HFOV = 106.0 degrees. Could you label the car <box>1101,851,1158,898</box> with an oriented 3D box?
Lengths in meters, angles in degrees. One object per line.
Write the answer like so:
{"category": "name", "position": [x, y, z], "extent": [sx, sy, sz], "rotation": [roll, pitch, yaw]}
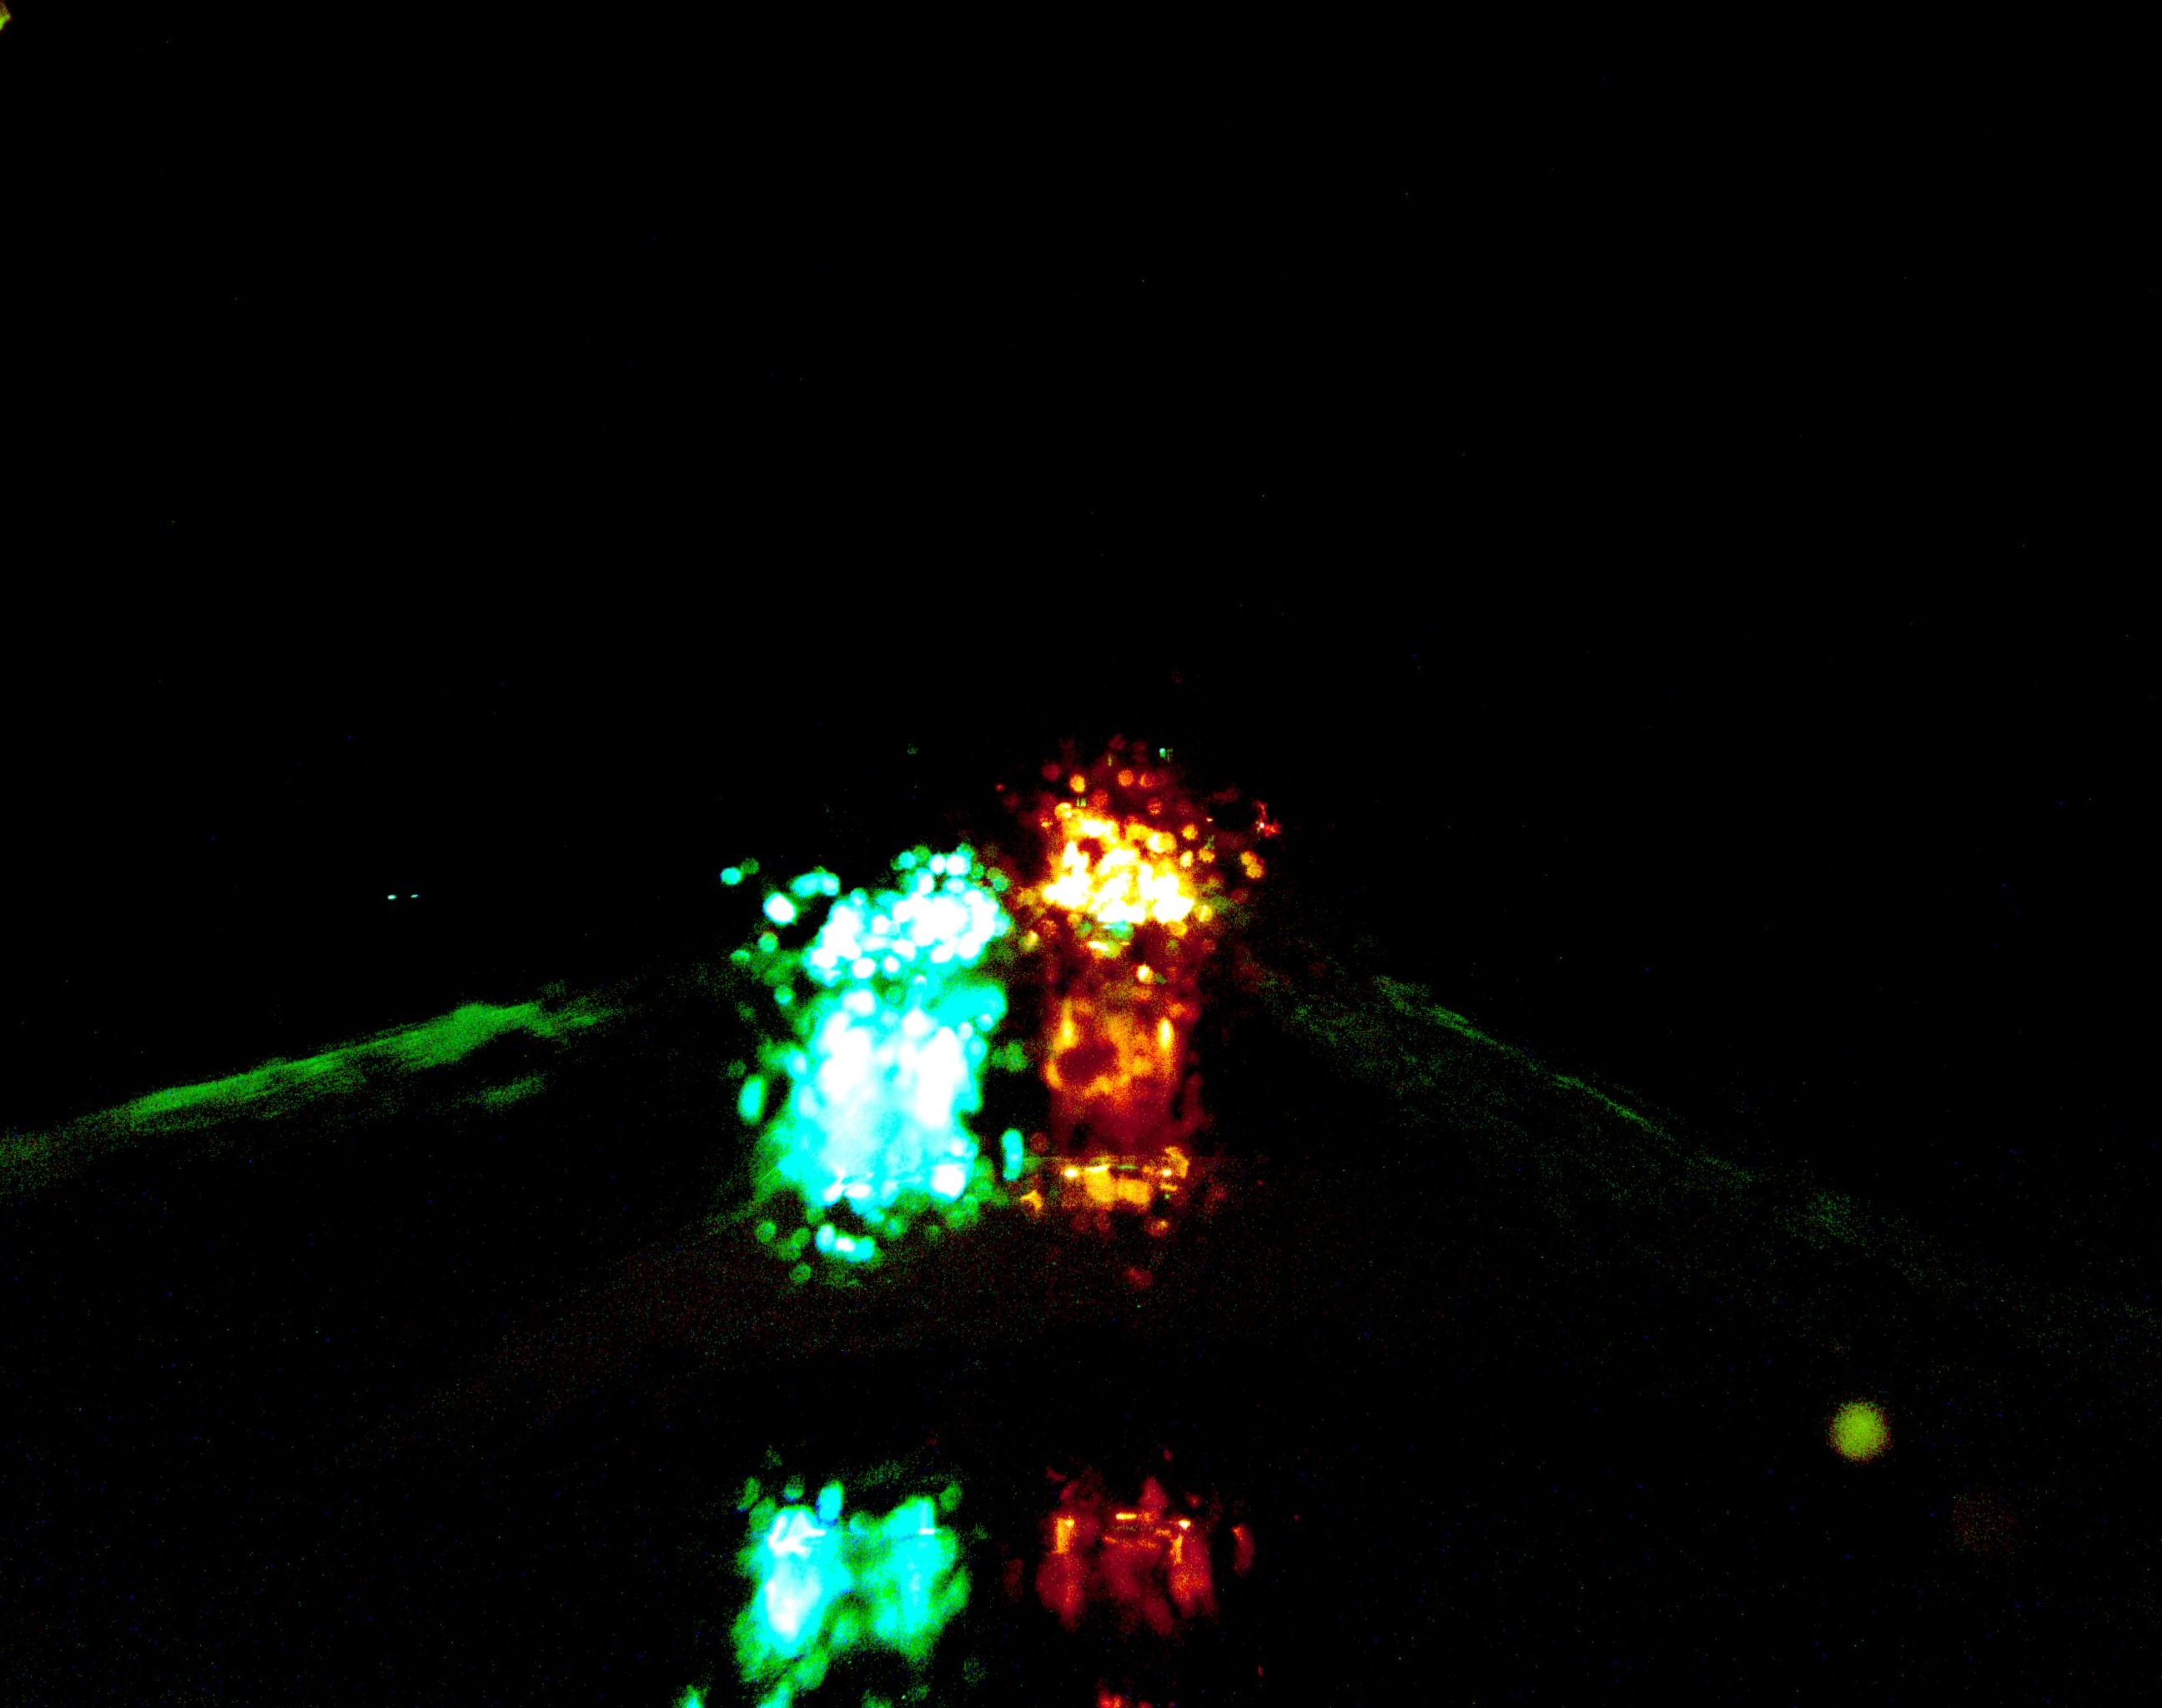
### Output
{"category": "car", "position": [1.731, 0.650, 27.822], "extent": [1.735, 1.415, 4.007], "rotation": [-2, 0, 6]}

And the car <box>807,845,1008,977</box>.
{"category": "car", "position": [-2.451, 0.770, 12.762], "extent": [1.866, 1.545, 4.358], "rotation": [-6, -1, 3]}

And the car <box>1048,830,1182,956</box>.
{"category": "car", "position": [0.593, 0.524, 13.157], "extent": [1.783, 1.681, 3.908], "rotation": [-2, 0, 4]}
